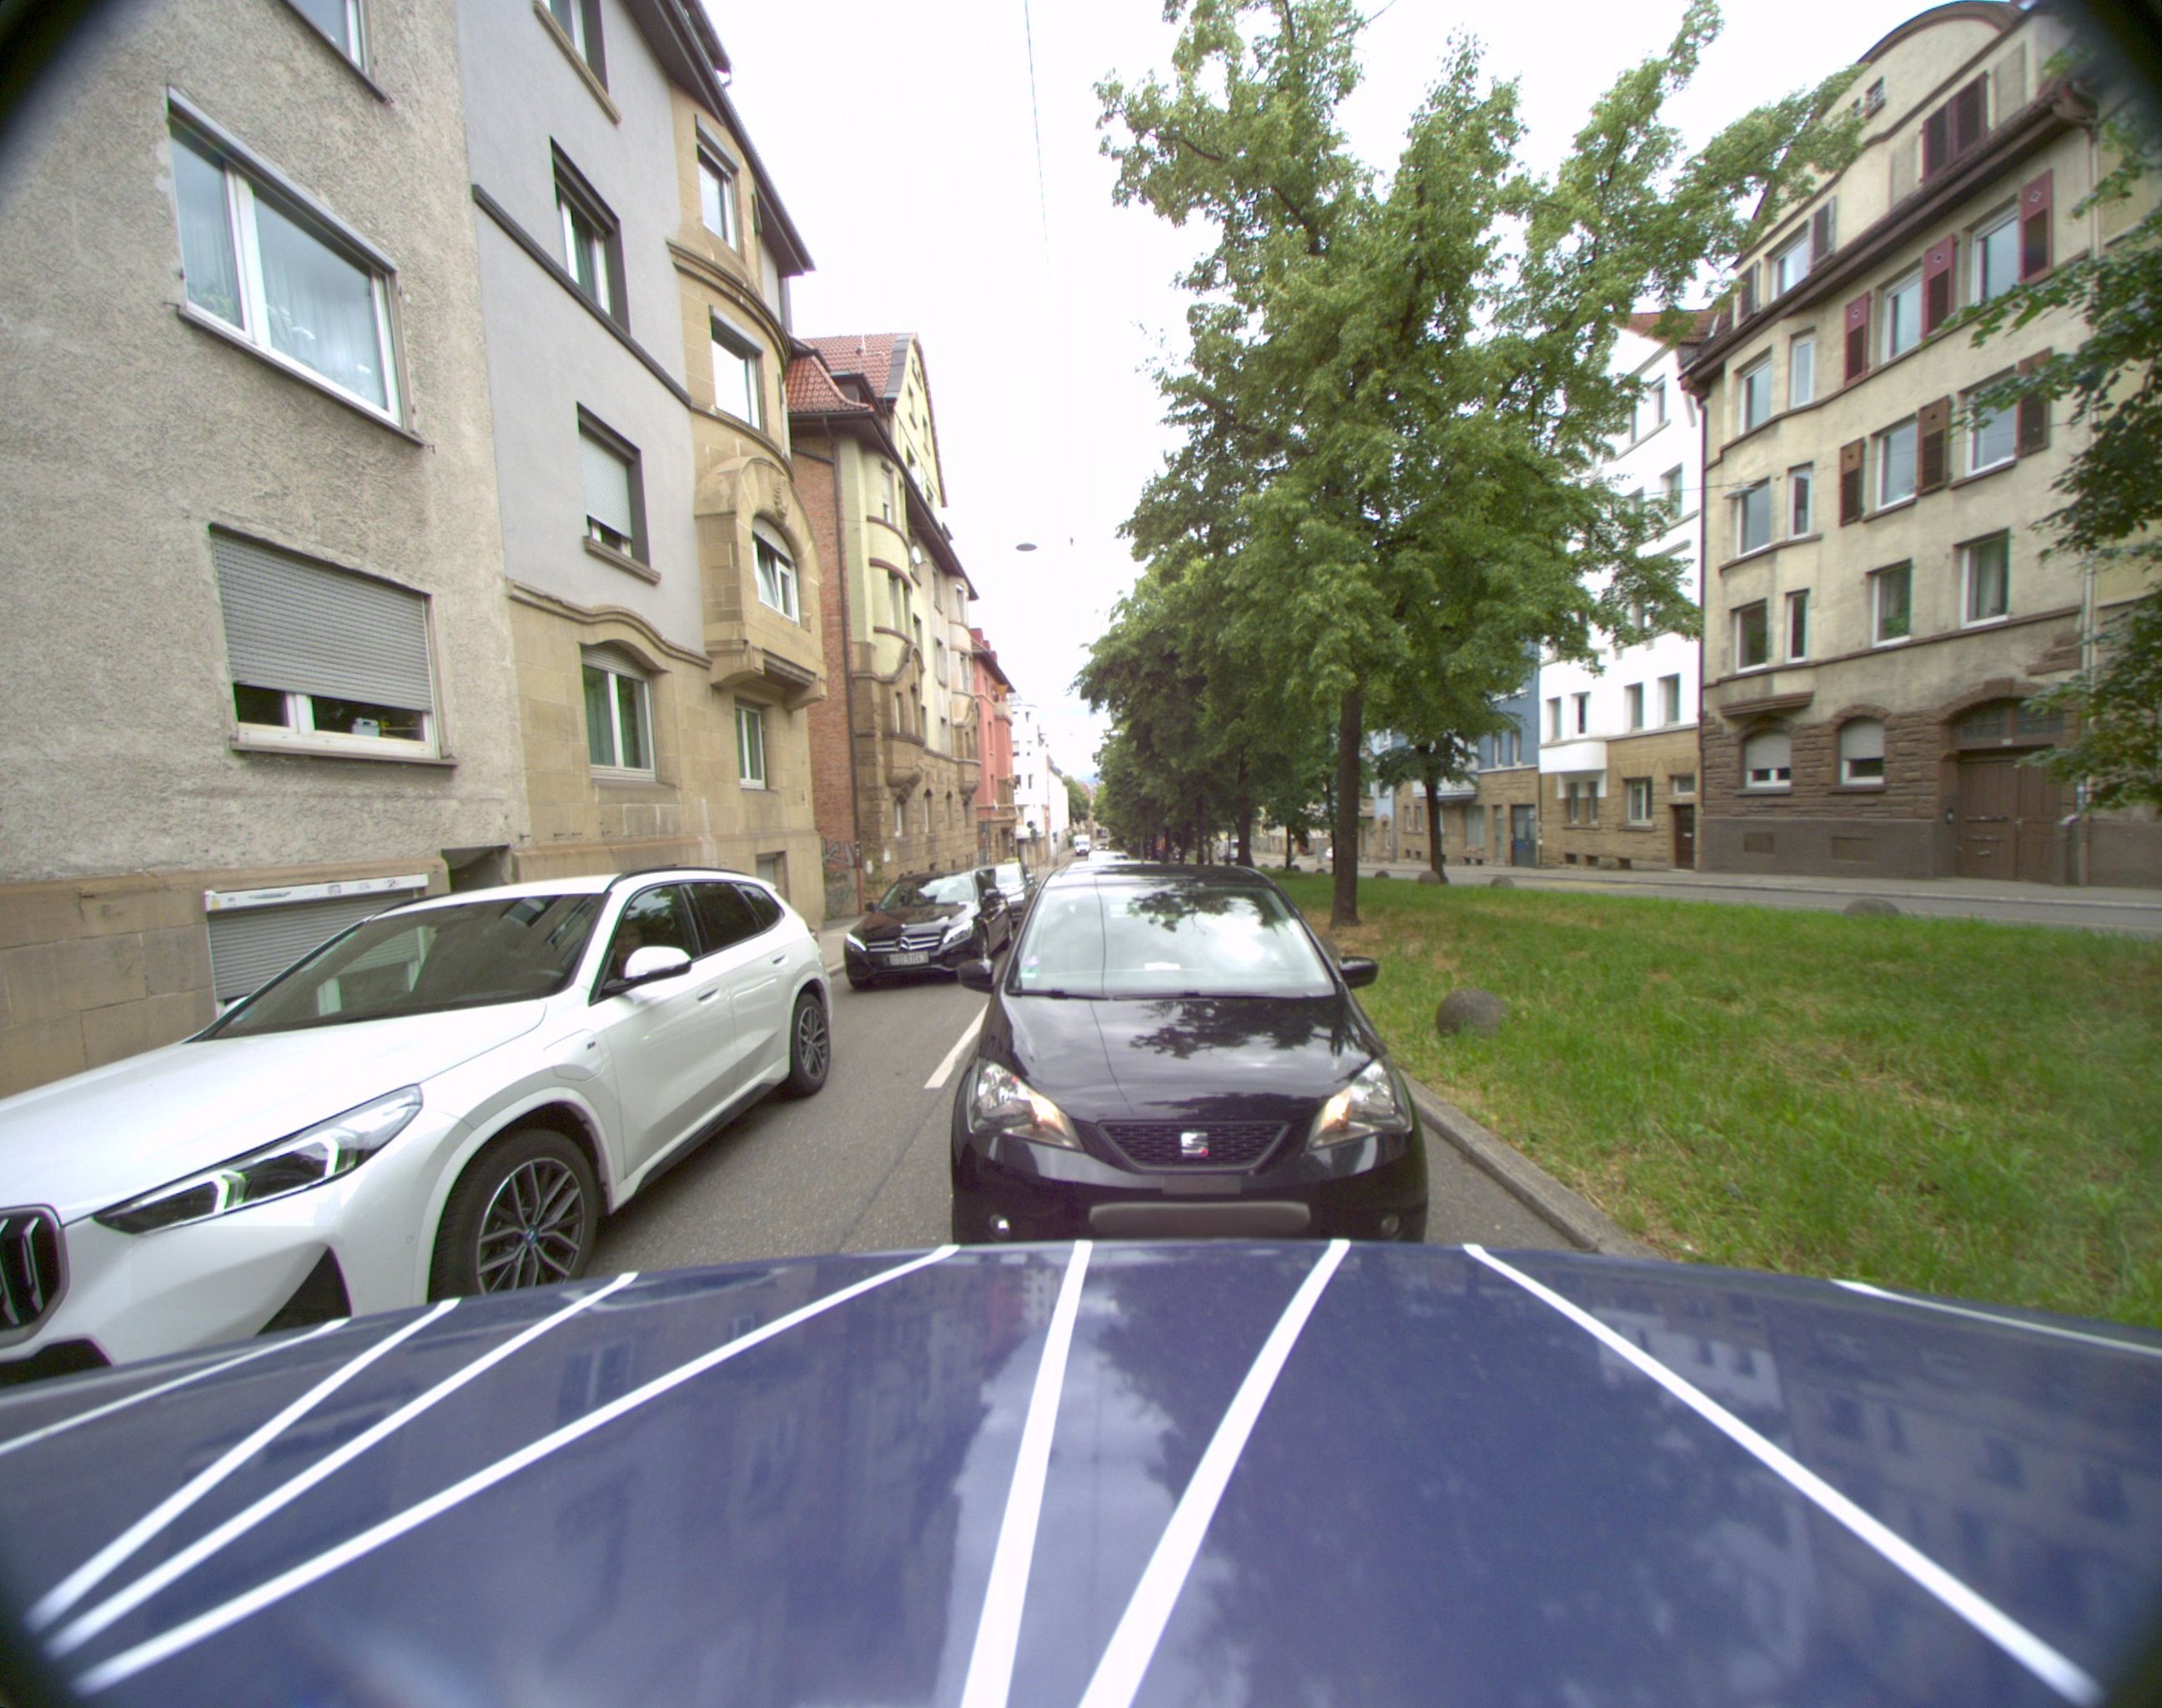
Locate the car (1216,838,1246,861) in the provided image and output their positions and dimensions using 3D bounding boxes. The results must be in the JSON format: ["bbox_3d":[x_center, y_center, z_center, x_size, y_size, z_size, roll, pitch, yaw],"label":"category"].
[{"bbox_3d":[13.931,-0.425,70.818,1.998,1.933,5.308,-3,0,4],"label":"car"}]

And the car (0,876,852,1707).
[{"bbox_3d":[-2.795,1.071,3.709,1.859,1.547,4.350,-6,1,0],"label":"car"}]

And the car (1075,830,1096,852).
[{"bbox_3d":[0.570,-1.827,106.229,2.716,2.879,6.451,-2,1,-1],"label":"car"}]

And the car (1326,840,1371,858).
[{"bbox_3d":[22.203,-0.438,63.109,3.291,1.323,1.672,-2,1,10],"label":"car"}]

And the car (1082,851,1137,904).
[{"bbox_3d":[0.894,0.702,24.797,1.607,1.492,3.737,-2,1,1],"label":"car"}]

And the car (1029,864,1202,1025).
[{"bbox_3d":[0.371,0.923,9.350,1.664,1.456,3.580,-2,1,1],"label":"car"}]

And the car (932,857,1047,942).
[{"bbox_3d":[-2.002,0.965,17.988,1.936,1.506,4.303,-6,1,2],"label":"car"}]

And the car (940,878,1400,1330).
[{"bbox_3d":[0.336,0.942,4.328,1.611,1.457,3.296,0,1,1],"label":"car"}]

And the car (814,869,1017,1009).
[{"bbox_3d":[-2.161,1.054,11.184,1.884,1.369,4.205,-6,1,1],"label":"car"}]
